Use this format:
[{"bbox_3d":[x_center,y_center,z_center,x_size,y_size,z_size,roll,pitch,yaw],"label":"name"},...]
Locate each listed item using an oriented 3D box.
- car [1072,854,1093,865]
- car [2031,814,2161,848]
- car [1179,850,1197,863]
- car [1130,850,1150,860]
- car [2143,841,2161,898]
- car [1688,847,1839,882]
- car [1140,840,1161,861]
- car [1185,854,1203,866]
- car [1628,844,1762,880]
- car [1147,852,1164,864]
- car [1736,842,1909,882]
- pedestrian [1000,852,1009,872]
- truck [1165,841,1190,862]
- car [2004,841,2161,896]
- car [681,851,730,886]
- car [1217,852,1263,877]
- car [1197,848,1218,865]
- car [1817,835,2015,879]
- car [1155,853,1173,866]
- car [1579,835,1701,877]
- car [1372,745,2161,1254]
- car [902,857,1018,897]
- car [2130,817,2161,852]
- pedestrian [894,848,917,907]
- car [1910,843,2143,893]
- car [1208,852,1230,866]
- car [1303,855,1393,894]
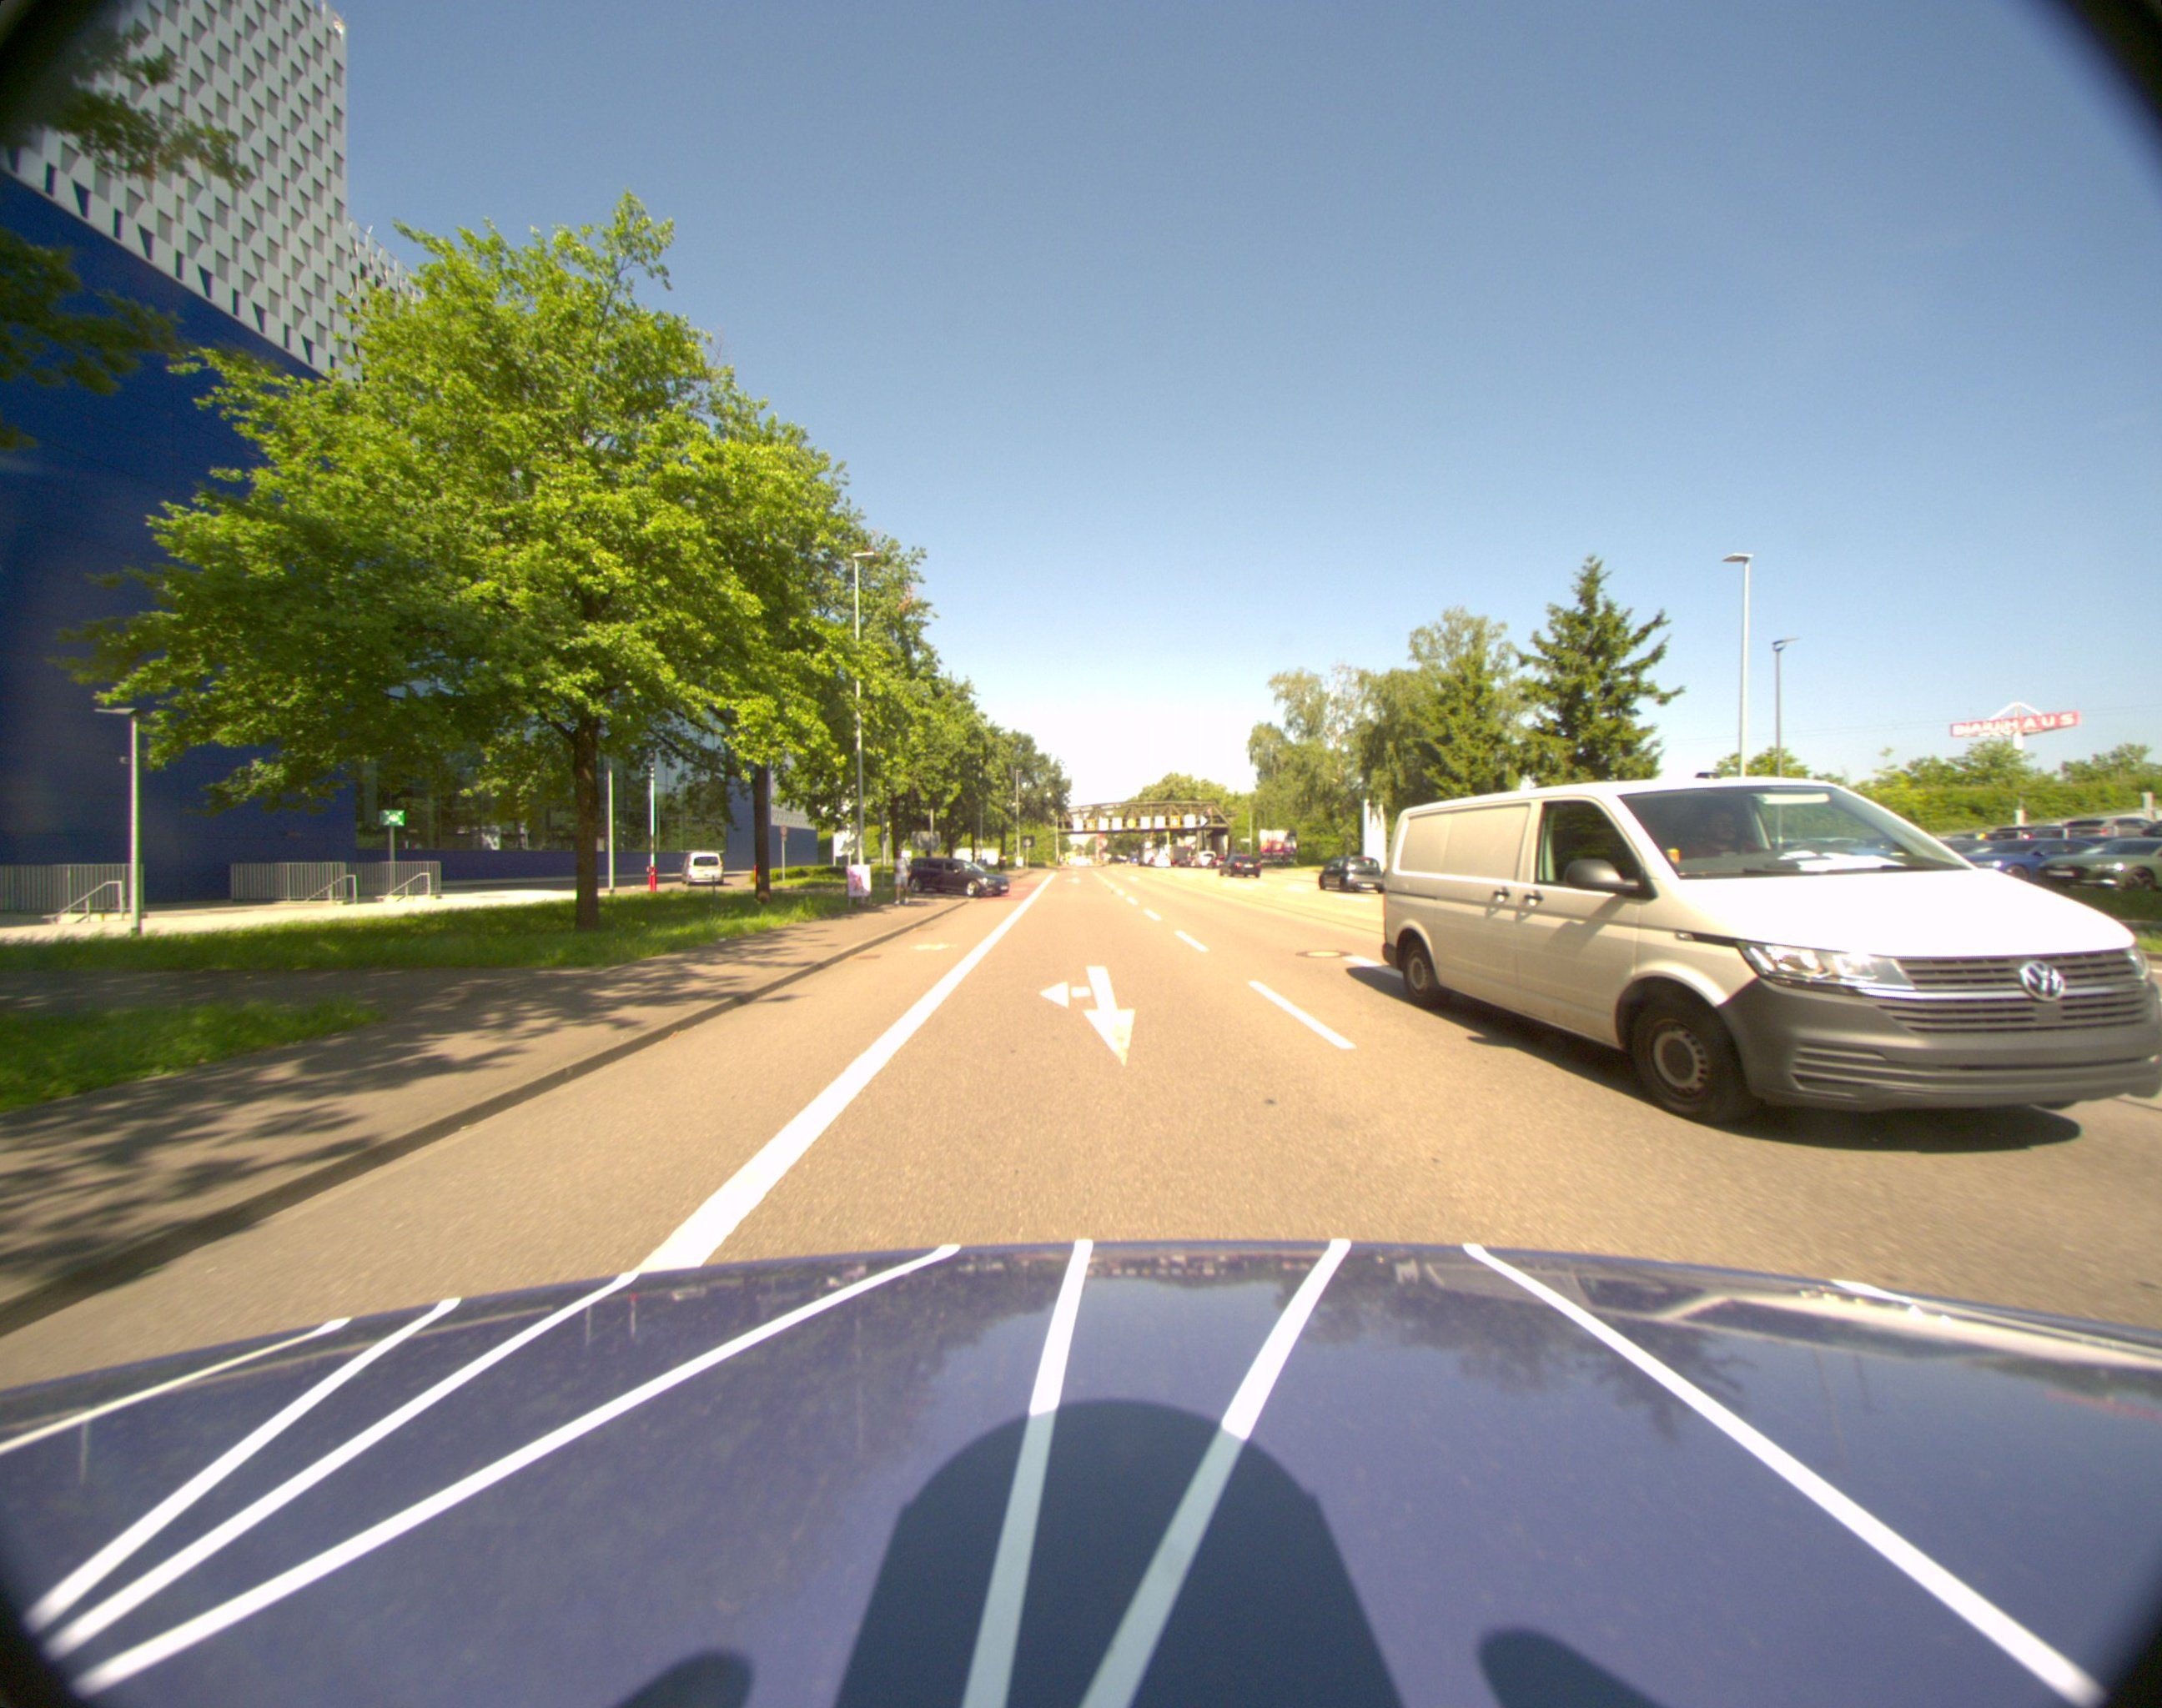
[{"bbox_3d":[0.354,1.032,153.564,3.996,2.001,2.001,-3,-1,4],"label":"car"},{"bbox_3d":[42.879,-0.943,31.593,4.276,1.343,1.954,-1,0,1],"label":"car"},{"bbox_3d":[14.900,0.402,106.183,1.989,1.679,4.288,1,-1,0],"label":"car"},{"bbox_3d":[12.820,0.246,165.064,3.996,2.001,2.212,-3,-1,2],"label":"car"},{"bbox_3d":[27.491,0.337,17.111,4.276,1.343,1.954,-1,0,2],"label":"car"},{"bbox_3d":[27.321,0.408,30.532,4.276,1.320,1.954,-1,0,2],"label":"car"},{"bbox_3d":[9.870,-0.513,108.171,1.999,2.788,6.936,2,0,-2],"label":"car"},{"bbox_3d":[14.794,0.802,99.477,1.773,1.485,4.178,1,-1,0],"label":"car"},{"bbox_3d":[26.928,0.324,33.451,4.276,1.495,1.954,-1,0,2],"label":"car"},{"bbox_3d":[9.858,0.521,100.494,1.773,1.485,4.178,1,-1,0],"label":"car"},{"bbox_3d":[26.736,0.273,27.517,4.276,1.373,1.954,-1,0,2],"label":"car"},{"bbox_3d":[-6.076,0.622,60.464,0.648,1.594,0.846,0,1,1],"label":"pedestrian"},{"bbox_3d":[14.413,-0.393,113.668,2.347,3.070,7.067,-1,0,-3],"label":"truck"},{"bbox_3d":[27.351,0.348,19.742,4.276,1.343,1.954,-1,0,2],"label":"car"},{"bbox_3d":[-20.336,0.740,41.086,1.915,1.818,4.169,-1,0,-32],"label":"car"},{"bbox_3d":[10.014,0.601,48.227,1.846,1.455,4.999,2,0,0],"label":"car"},{"bbox_3d":[15.163,0.341,91.497,1.998,2.002,5.348,0,0,4],"label":"car"},{"bbox_3d":[27.270,0.099,24.942,4.276,1.343,1.954,-1,0,2],"label":"car"},{"bbox_3d":[10.040,0.679,92.281,1.647,1.485,3.829,1,-1,-1],"label":"car"},{"bbox_3d":[26.355,0.100,35.923,4.276,1.873,1.954,-1,0,2],"label":"car"},{"bbox_3d":[3.992,0.572,5.464,1.886,1.982,4.974,0,0,0],"label":"car"},{"bbox_3d":[-4.956,0.899,31.127,4.363,1.511,1.915,0,0,26],"label":"car"},{"bbox_3d":[43.050,-0.756,28.646,4.276,1.343,1.954,-1,0,1],"label":"car"},{"bbox_3d":[-5.563,0.736,24.117,0.536,1.831,0.727,-1,1,0],"label":"pedestrian"},{"bbox_3d":[27.427,0.388,22.167,4.276,1.343,1.954,-1,0,2],"label":"car"},{"bbox_3d":[14.946,0.510,82.477,1.998,1.405,4.683,0,0,5],"label":"car"},{"bbox_3d":[10.455,0.762,30.088,1.788,1.406,3.997,1,0,-6],"label":"car"}]
